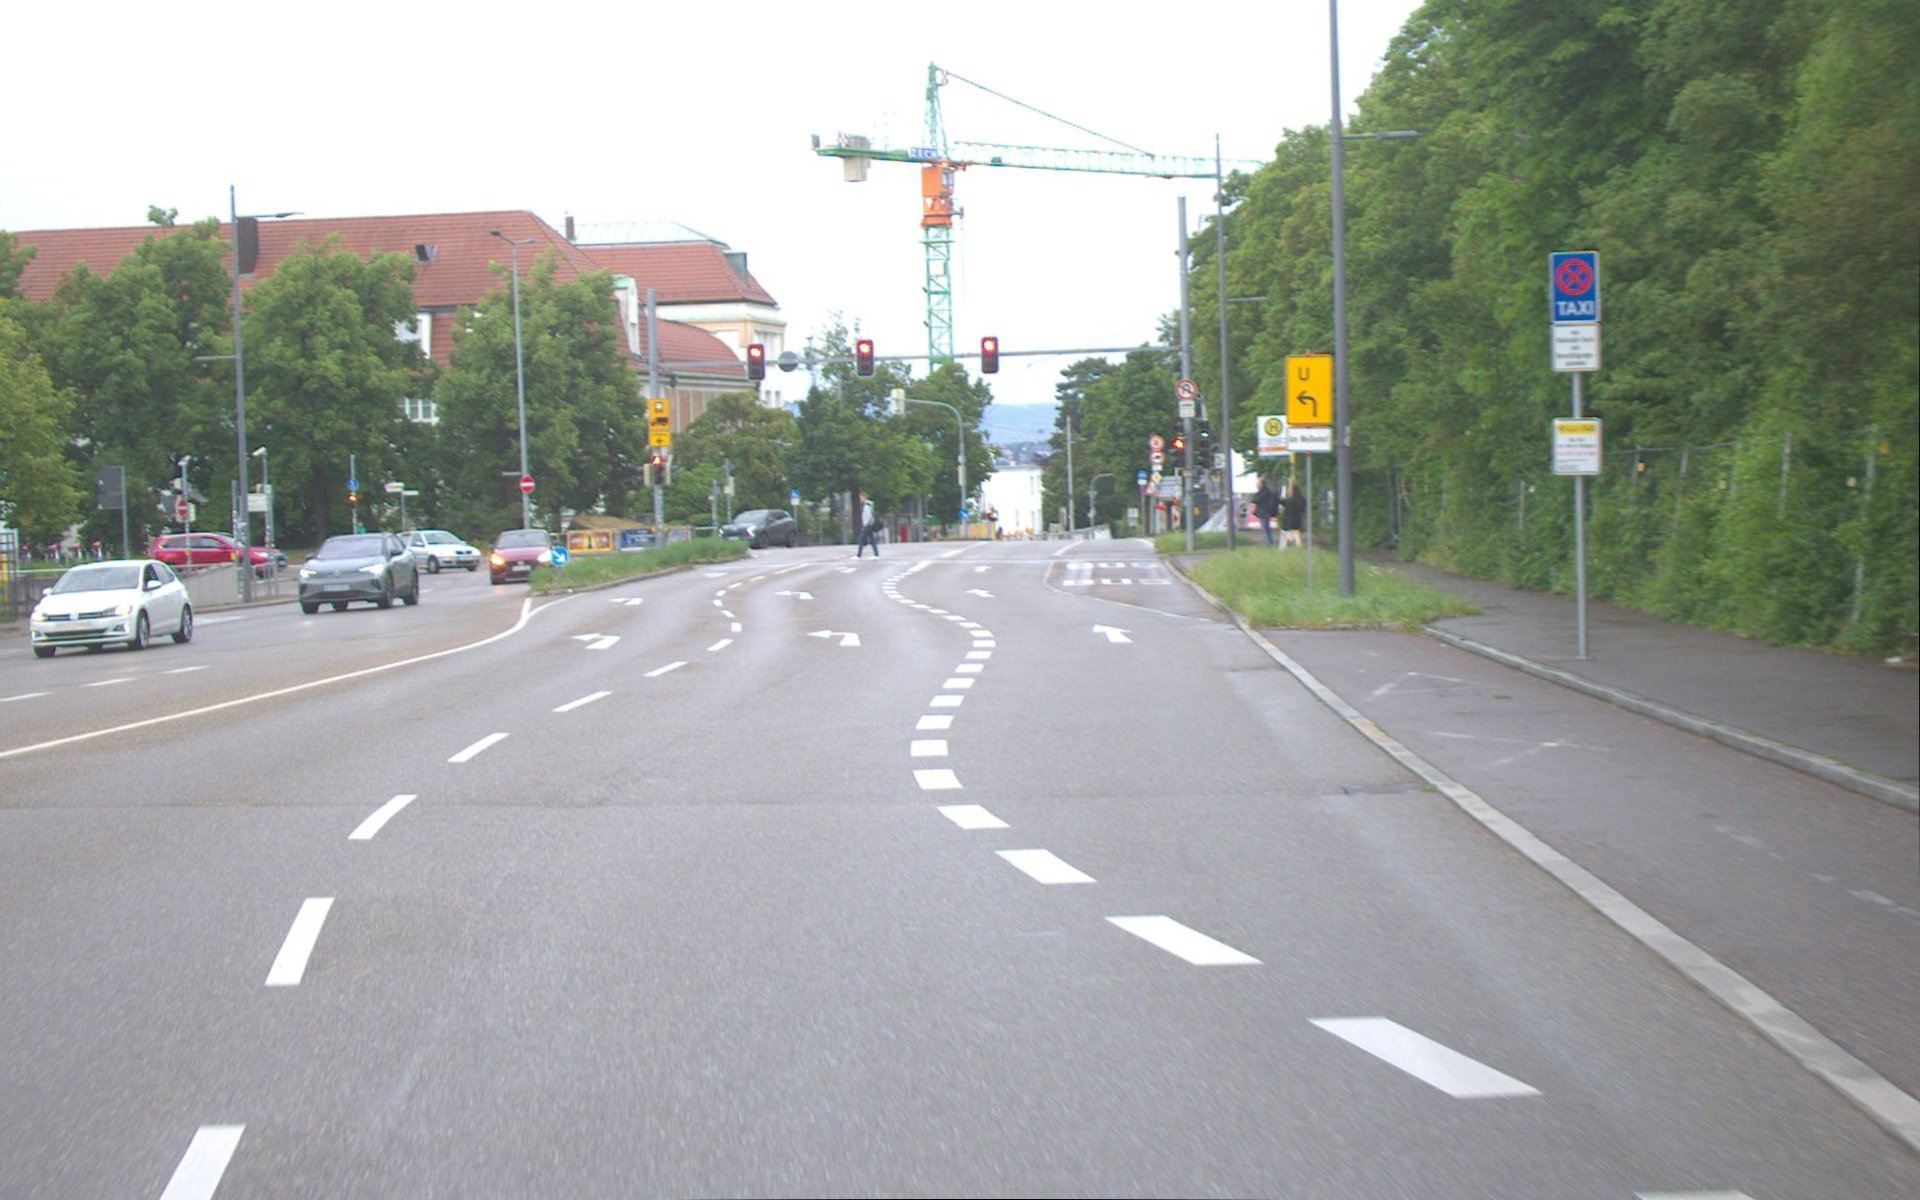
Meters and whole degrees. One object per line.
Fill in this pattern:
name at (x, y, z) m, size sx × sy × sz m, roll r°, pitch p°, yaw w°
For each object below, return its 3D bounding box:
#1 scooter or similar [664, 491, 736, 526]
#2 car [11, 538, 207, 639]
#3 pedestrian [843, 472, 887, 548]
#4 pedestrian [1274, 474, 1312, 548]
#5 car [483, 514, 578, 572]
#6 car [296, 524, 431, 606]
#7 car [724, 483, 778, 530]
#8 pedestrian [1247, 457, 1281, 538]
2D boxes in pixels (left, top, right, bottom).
scooter or similar at (-11.762, -4.157, 155.588) m, size 3.088 × 1.435 × 0.949 m, roll -2°, pitch 2°, yaw 1°
car at (-13.637, -0.218, 55.324) m, size 1.873 × 1.425 × 4.176 m, roll -4°, pitch 1°, yaw 2°
pedestrian at (-2.631, -2.502, 95.232) m, size 0.940 × 2.006 × 0.847 m, roll -5°, pitch 1°, yaw 8°
pedestrian at (7.523, -2.015, 77.697) m, size 0.675 × 1.652 × 0.793 m, roll -2°, pitch 2°, yaw -3°
car at (-11.965, -1.606, 95.957) m, size 1.832 × 1.411 × 4.466 m, roll -4°, pitch 2°, yaw 2°
car at (-12.693, -0.756, 73.413) m, size 1.832 × 1.567 × 4.593 m, roll -4°, pitch 1°, yaw 2°
car at (-8.485, -3.783, 139.955) m, size 1.993 × 1.831 × 4.000 m, roll 0°, pitch 0°, yaw -1°
pedestrian at (7.278, -2.445, 82.228) m, size 0.640 × 1.894 × 0.718 m, roll -2°, pitch 2°, yaw -3°
